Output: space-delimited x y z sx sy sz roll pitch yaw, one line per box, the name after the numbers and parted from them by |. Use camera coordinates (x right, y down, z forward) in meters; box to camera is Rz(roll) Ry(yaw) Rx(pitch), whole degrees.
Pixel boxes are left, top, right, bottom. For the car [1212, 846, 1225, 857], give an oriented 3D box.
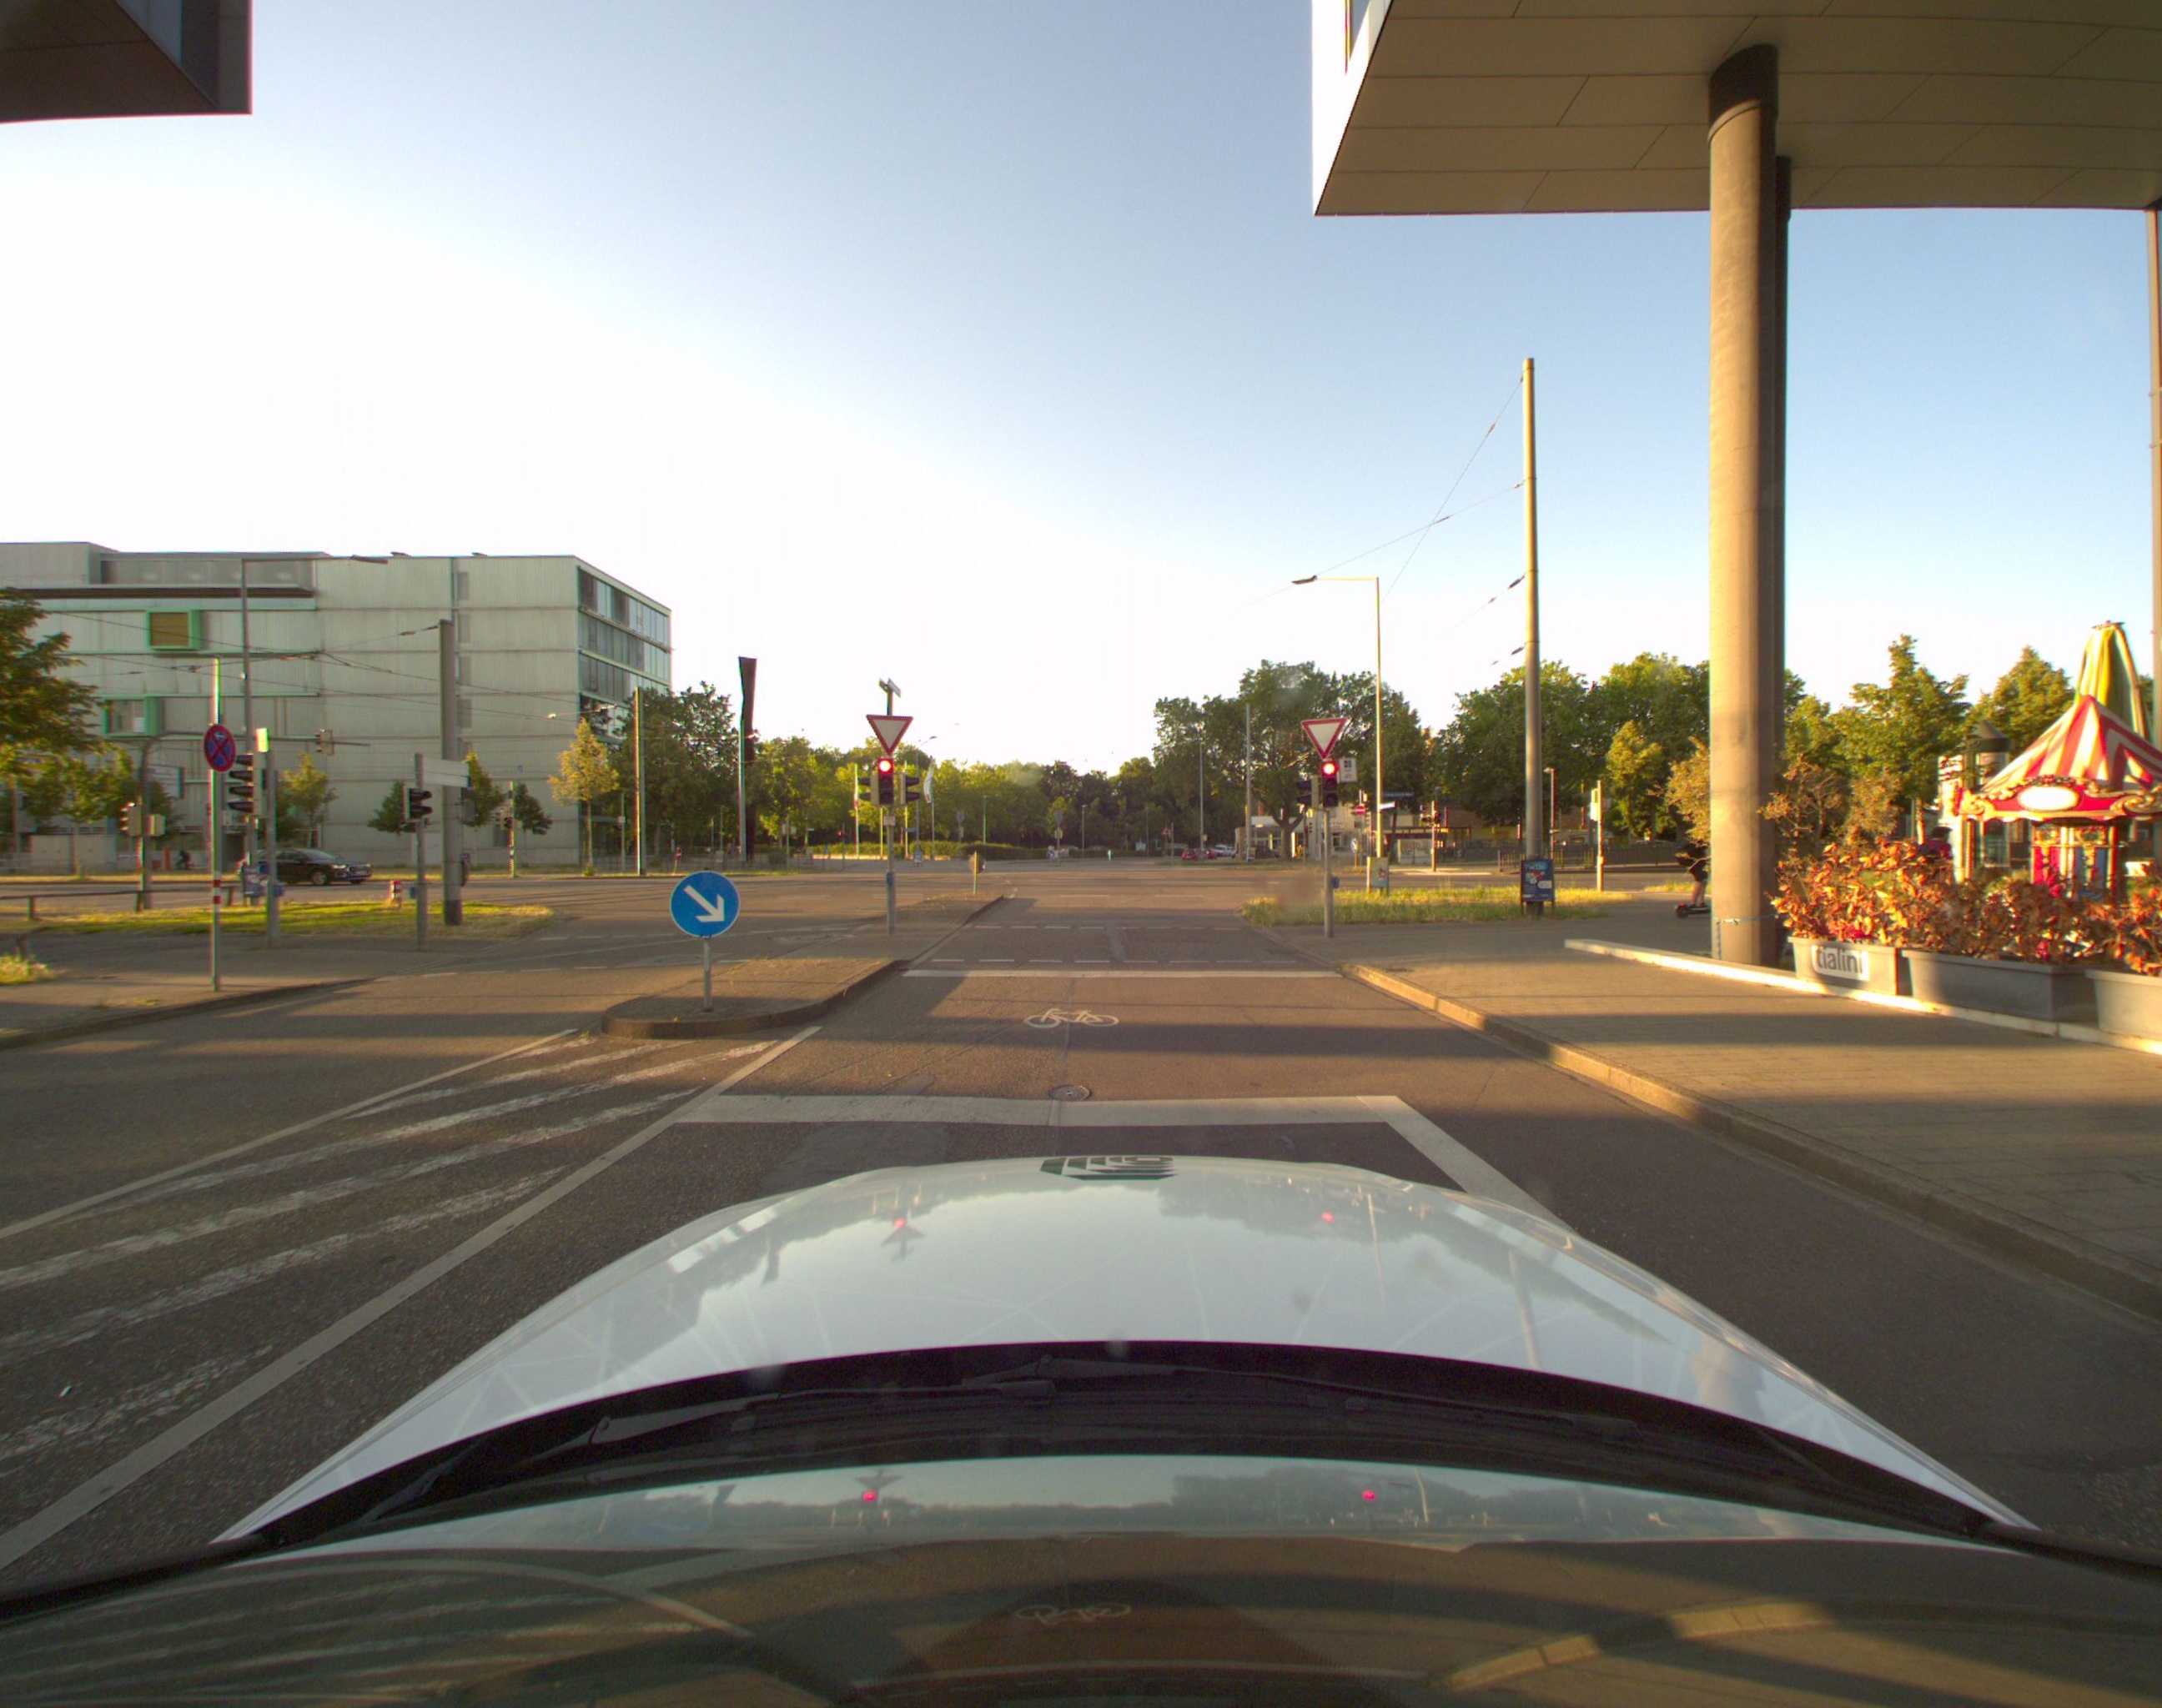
22.204 -0.393 131.249 1.850 1.794 4.013 -1 -1 12 | car

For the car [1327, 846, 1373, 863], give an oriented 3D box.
23.781 0.048 72.183 3.715 1.440 1.669 -1 -1 11 | car

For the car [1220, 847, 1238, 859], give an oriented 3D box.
21.029 -0.120 115.669 1.978 1.662 4.018 -1 -1 17 | car

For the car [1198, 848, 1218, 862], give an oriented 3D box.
16.154 0.109 103.546 1.978 1.662 4.018 -1 -1 17 | car

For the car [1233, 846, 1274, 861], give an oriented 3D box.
18.877 -0.066 89.268 4.194 1.552 2.005 -1 -1 9 | car

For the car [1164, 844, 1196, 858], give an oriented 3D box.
15.352 -0.477 126.095 4.753 2.006 2.002 -1 -1 3 | car

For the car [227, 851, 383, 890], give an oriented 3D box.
-32.528 0.674 34.240 4.467 1.557 1.986 -1 0 -4 | car

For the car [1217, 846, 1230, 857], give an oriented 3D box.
23.865 -0.406 136.107 1.849 1.794 4.015 -1 -1 14 | car

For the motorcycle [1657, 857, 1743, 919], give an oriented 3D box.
12.332 0.673 16.245 1.307 1.188 0.566 -1 0 -1 | motorcycle

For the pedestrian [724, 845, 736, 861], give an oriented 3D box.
-39.241 -0.146 91.008 0.853 1.744 0.834 0 0 21 | pedestrian

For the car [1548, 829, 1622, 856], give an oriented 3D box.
47.895 -1.085 77.431 5.561 2.551 2.235 0 0 9 | car

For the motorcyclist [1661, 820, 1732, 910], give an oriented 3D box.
12.295 0.206 16.285 0.897 1.746 0.676 -1 0 0 | motorcyclist

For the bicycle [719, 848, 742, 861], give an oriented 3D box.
-36.569 0.072 85.018 2.656 1.341 0.737 0 0 30 | bicycle

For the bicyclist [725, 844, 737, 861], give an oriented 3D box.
-36.524 -0.148 84.985 0.908 1.709 0.758 0 0 34 | bicyclist

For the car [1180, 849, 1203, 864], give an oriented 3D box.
13.055 0.279 95.925 1.978 1.662 4.018 -1 -1 17 | car

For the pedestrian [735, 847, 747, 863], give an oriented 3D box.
-38.545 0.125 92.326 0.852 1.744 0.835 0 0 35 | pedestrian
